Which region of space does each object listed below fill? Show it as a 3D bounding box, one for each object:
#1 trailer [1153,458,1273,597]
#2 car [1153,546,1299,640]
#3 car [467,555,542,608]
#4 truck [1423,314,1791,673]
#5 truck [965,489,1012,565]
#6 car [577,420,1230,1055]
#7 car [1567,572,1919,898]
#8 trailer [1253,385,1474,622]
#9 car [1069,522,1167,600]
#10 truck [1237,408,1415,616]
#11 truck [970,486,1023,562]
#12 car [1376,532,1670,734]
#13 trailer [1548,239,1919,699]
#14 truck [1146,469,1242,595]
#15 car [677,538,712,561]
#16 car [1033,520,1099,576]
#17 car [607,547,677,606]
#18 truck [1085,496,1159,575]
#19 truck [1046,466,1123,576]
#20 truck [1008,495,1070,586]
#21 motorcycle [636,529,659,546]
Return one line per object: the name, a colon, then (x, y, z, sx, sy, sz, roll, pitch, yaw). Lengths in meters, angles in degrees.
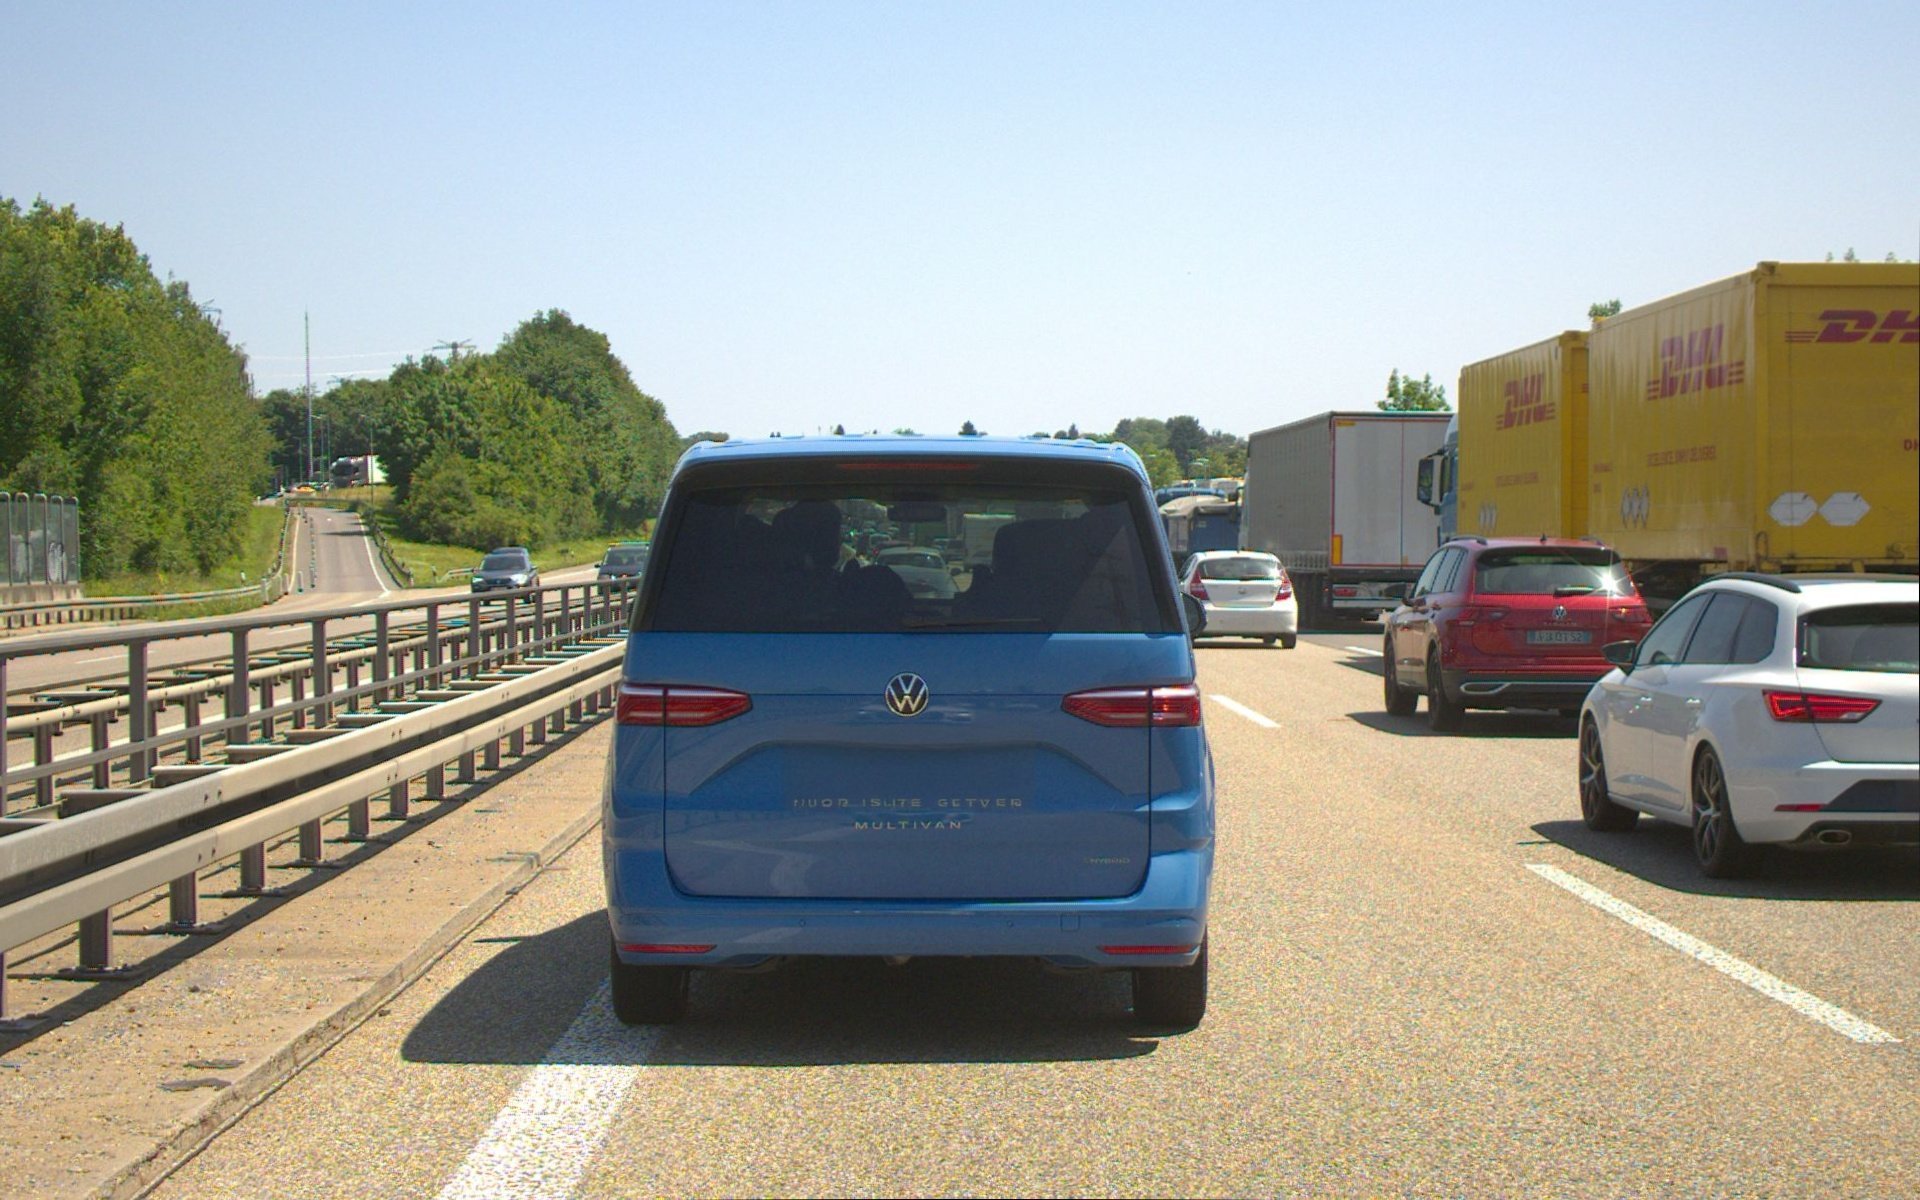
trailer: (7.170, -1.995, 98.678, 2.379, 3.731, 11.189, 1, 0, -1)
car: (4.116, -0.135, 53.669, 1.838, 1.409, 4.000, 0, 1, -2)
car: (-14.111, -0.566, 106.710, 1.754, 1.542, 4.000, -2, 0, 0)
truck: (8.054, -1.249, 44.253, 2.722, 4.041, 10.336, 1, 0, 0)
truck: (2.070, -5.282, 251.355, 2.833, 5.354, 12.556, 1, 0, -2)
car: (-0.178, 0.366, 11.938, 1.882, 1.831, 4.000, 0, 1, 0)
car: (4.288, 0.573, 17.046, 1.781, 1.382, 4.188, 0, 1, 0)
trailer: (7.608, -1.745, 66.416, 2.755, 4.132, 11.312, 1, 0, -1)
car: (3.365, -0.842, 73.822, 1.715, 1.581, 3.821, -1, 1, -3)
truck: (7.532, -1.772, 71.644, 2.768, 4.081, 6.984, 1, 0, -1)
truck: (2.403, -5.082, 230.148, 2.833, 4.869, 13.222, -2, 1, -2)
car: (4.771, 0.229, 29.659, 1.851, 1.603, 4.000, 0, 1, 0)
trailer: (8.054, -1.169, 34.600, 2.701, 4.010, 8.931, 1, 0, 0)
truck: (7.081, -2.029, 104.769, 2.367, 3.709, 6.034, 1, 0, -1)
car: (-17.081, -3.267, 221.210, 1.910, 1.389, 4.165, -2, 0, -1)
car: (2.991, -1.482, 97.641, 1.715, 1.535, 3.821, -1, 1, 0)
car: (-9.769, -0.746, 105.832, 1.754, 1.715, 4.101, -1, 1, 0)
truck: (6.869, -2.700, 146.832, 2.355, 3.207, 9.742, 1, 0, -2)
truck: (5.904, -3.703, 164.499, 2.833, 5.023, 11.147, 1, 0, -2)
truck: (4.520, -3.385, 198.158, 2.833, 5.023, 11.818, 1, 0, -2)
motorcycle: (-22.304, -4.455, 245.513, 1.366, 1.095, 2.576, -3, 1, -1)
